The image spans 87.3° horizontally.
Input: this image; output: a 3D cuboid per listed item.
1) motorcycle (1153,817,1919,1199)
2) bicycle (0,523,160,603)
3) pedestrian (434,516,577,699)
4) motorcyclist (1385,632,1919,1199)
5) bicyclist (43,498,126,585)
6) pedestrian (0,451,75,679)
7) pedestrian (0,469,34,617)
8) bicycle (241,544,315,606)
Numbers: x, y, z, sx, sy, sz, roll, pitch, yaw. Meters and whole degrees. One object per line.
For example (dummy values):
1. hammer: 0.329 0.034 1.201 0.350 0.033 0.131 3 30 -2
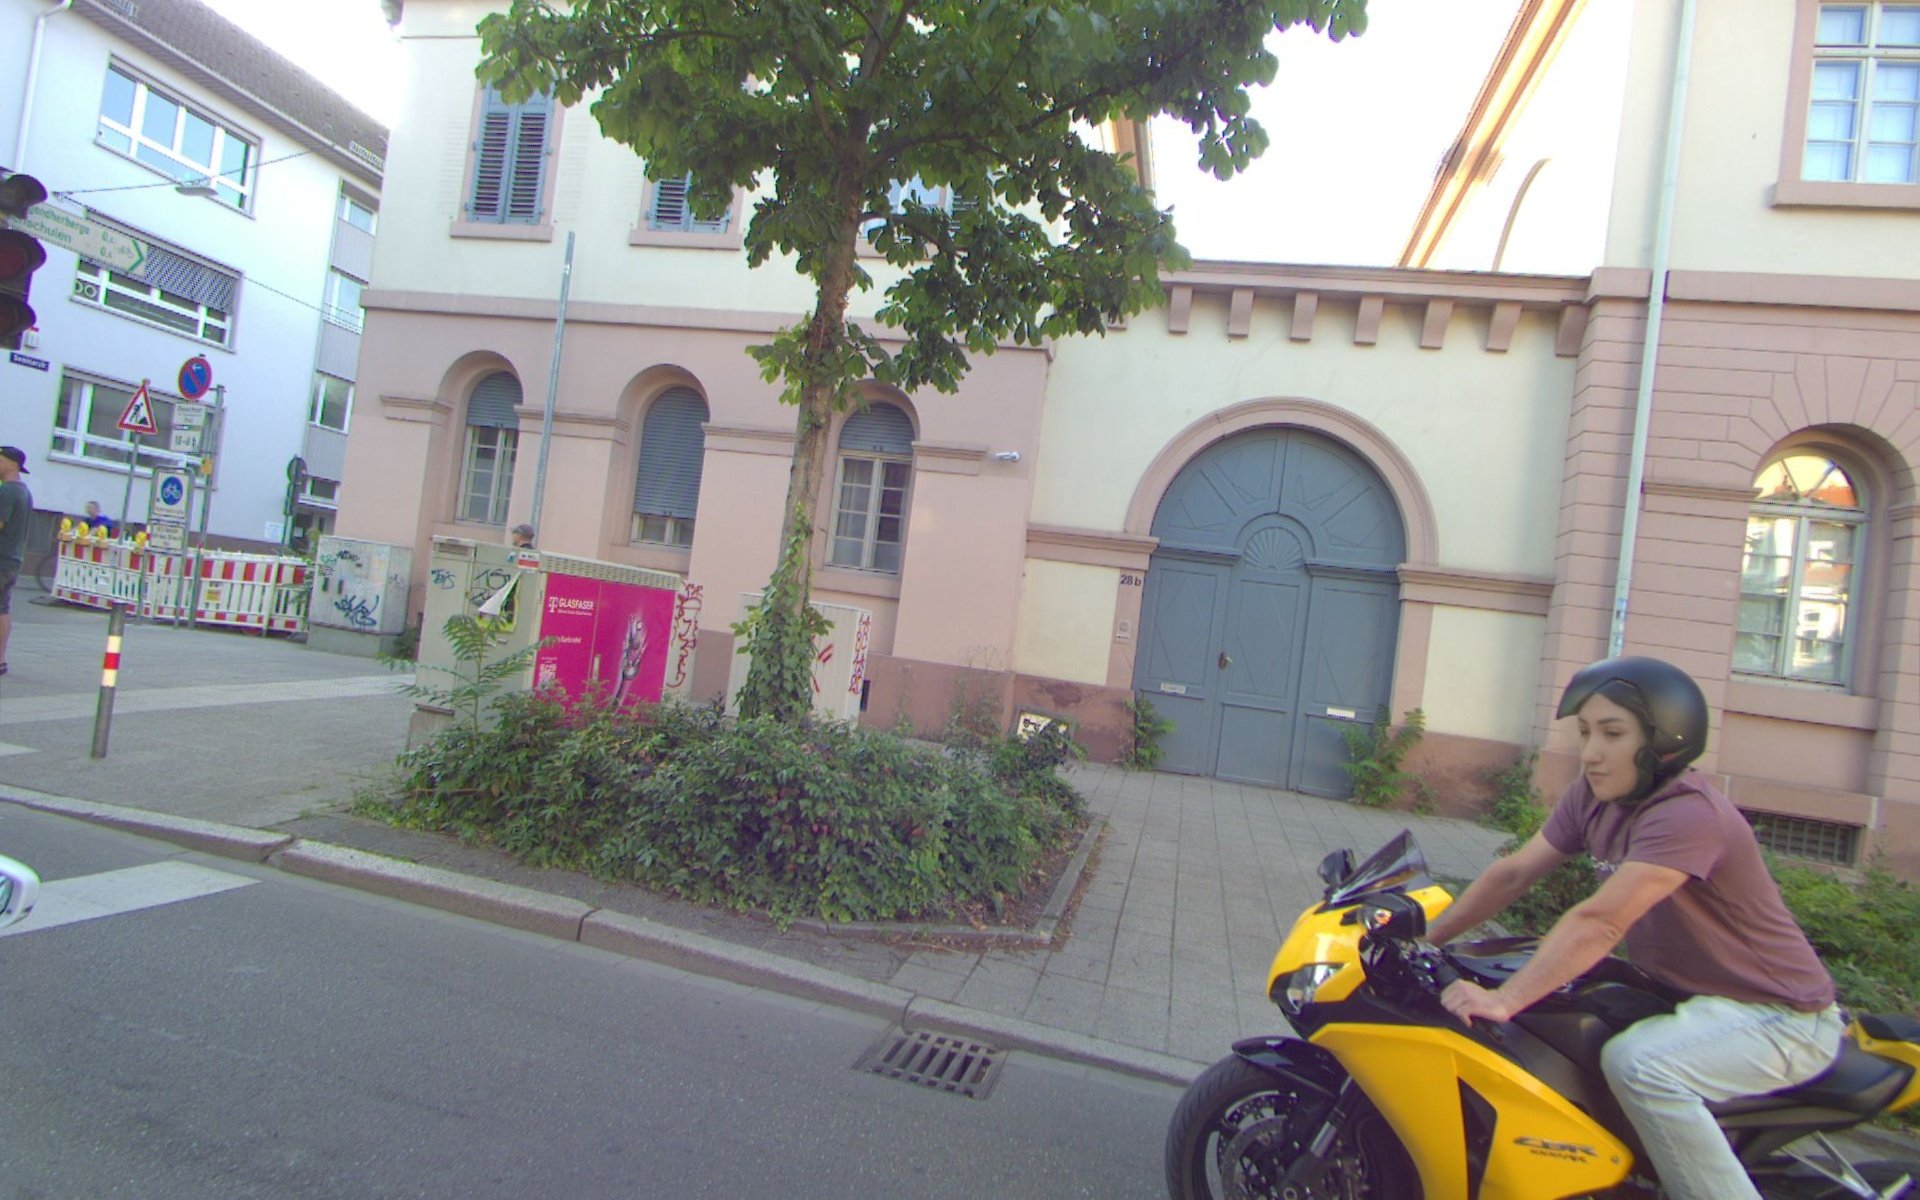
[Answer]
1. motorcycle: 1.522 1.257 2.406 1.927 1.071 0.739 7 -2 8
2. bicycle: -15.369 -0.628 17.575 0.663 1.040 1.976 5 -5 32
3. pedestrian: -4.942 0.076 10.970 1.045 1.818 0.699 7 1 14
4. motorcyclist: 1.578 0.850 2.414 0.713 1.428 0.739 7 -2 8
5. bicyclist: -15.312 -1.019 17.600 0.663 1.378 0.776 5 -4 32
6. pedestrian: -7.769 -0.294 8.154 0.565 1.797 0.545 7 1 15
7. pedestrian: -12.752 -0.788 12.928 1.030 1.878 0.699 7 1 19
8. bicycle: -15.328 -0.531 22.662 0.524 1.253 1.794 8 -2 -8
